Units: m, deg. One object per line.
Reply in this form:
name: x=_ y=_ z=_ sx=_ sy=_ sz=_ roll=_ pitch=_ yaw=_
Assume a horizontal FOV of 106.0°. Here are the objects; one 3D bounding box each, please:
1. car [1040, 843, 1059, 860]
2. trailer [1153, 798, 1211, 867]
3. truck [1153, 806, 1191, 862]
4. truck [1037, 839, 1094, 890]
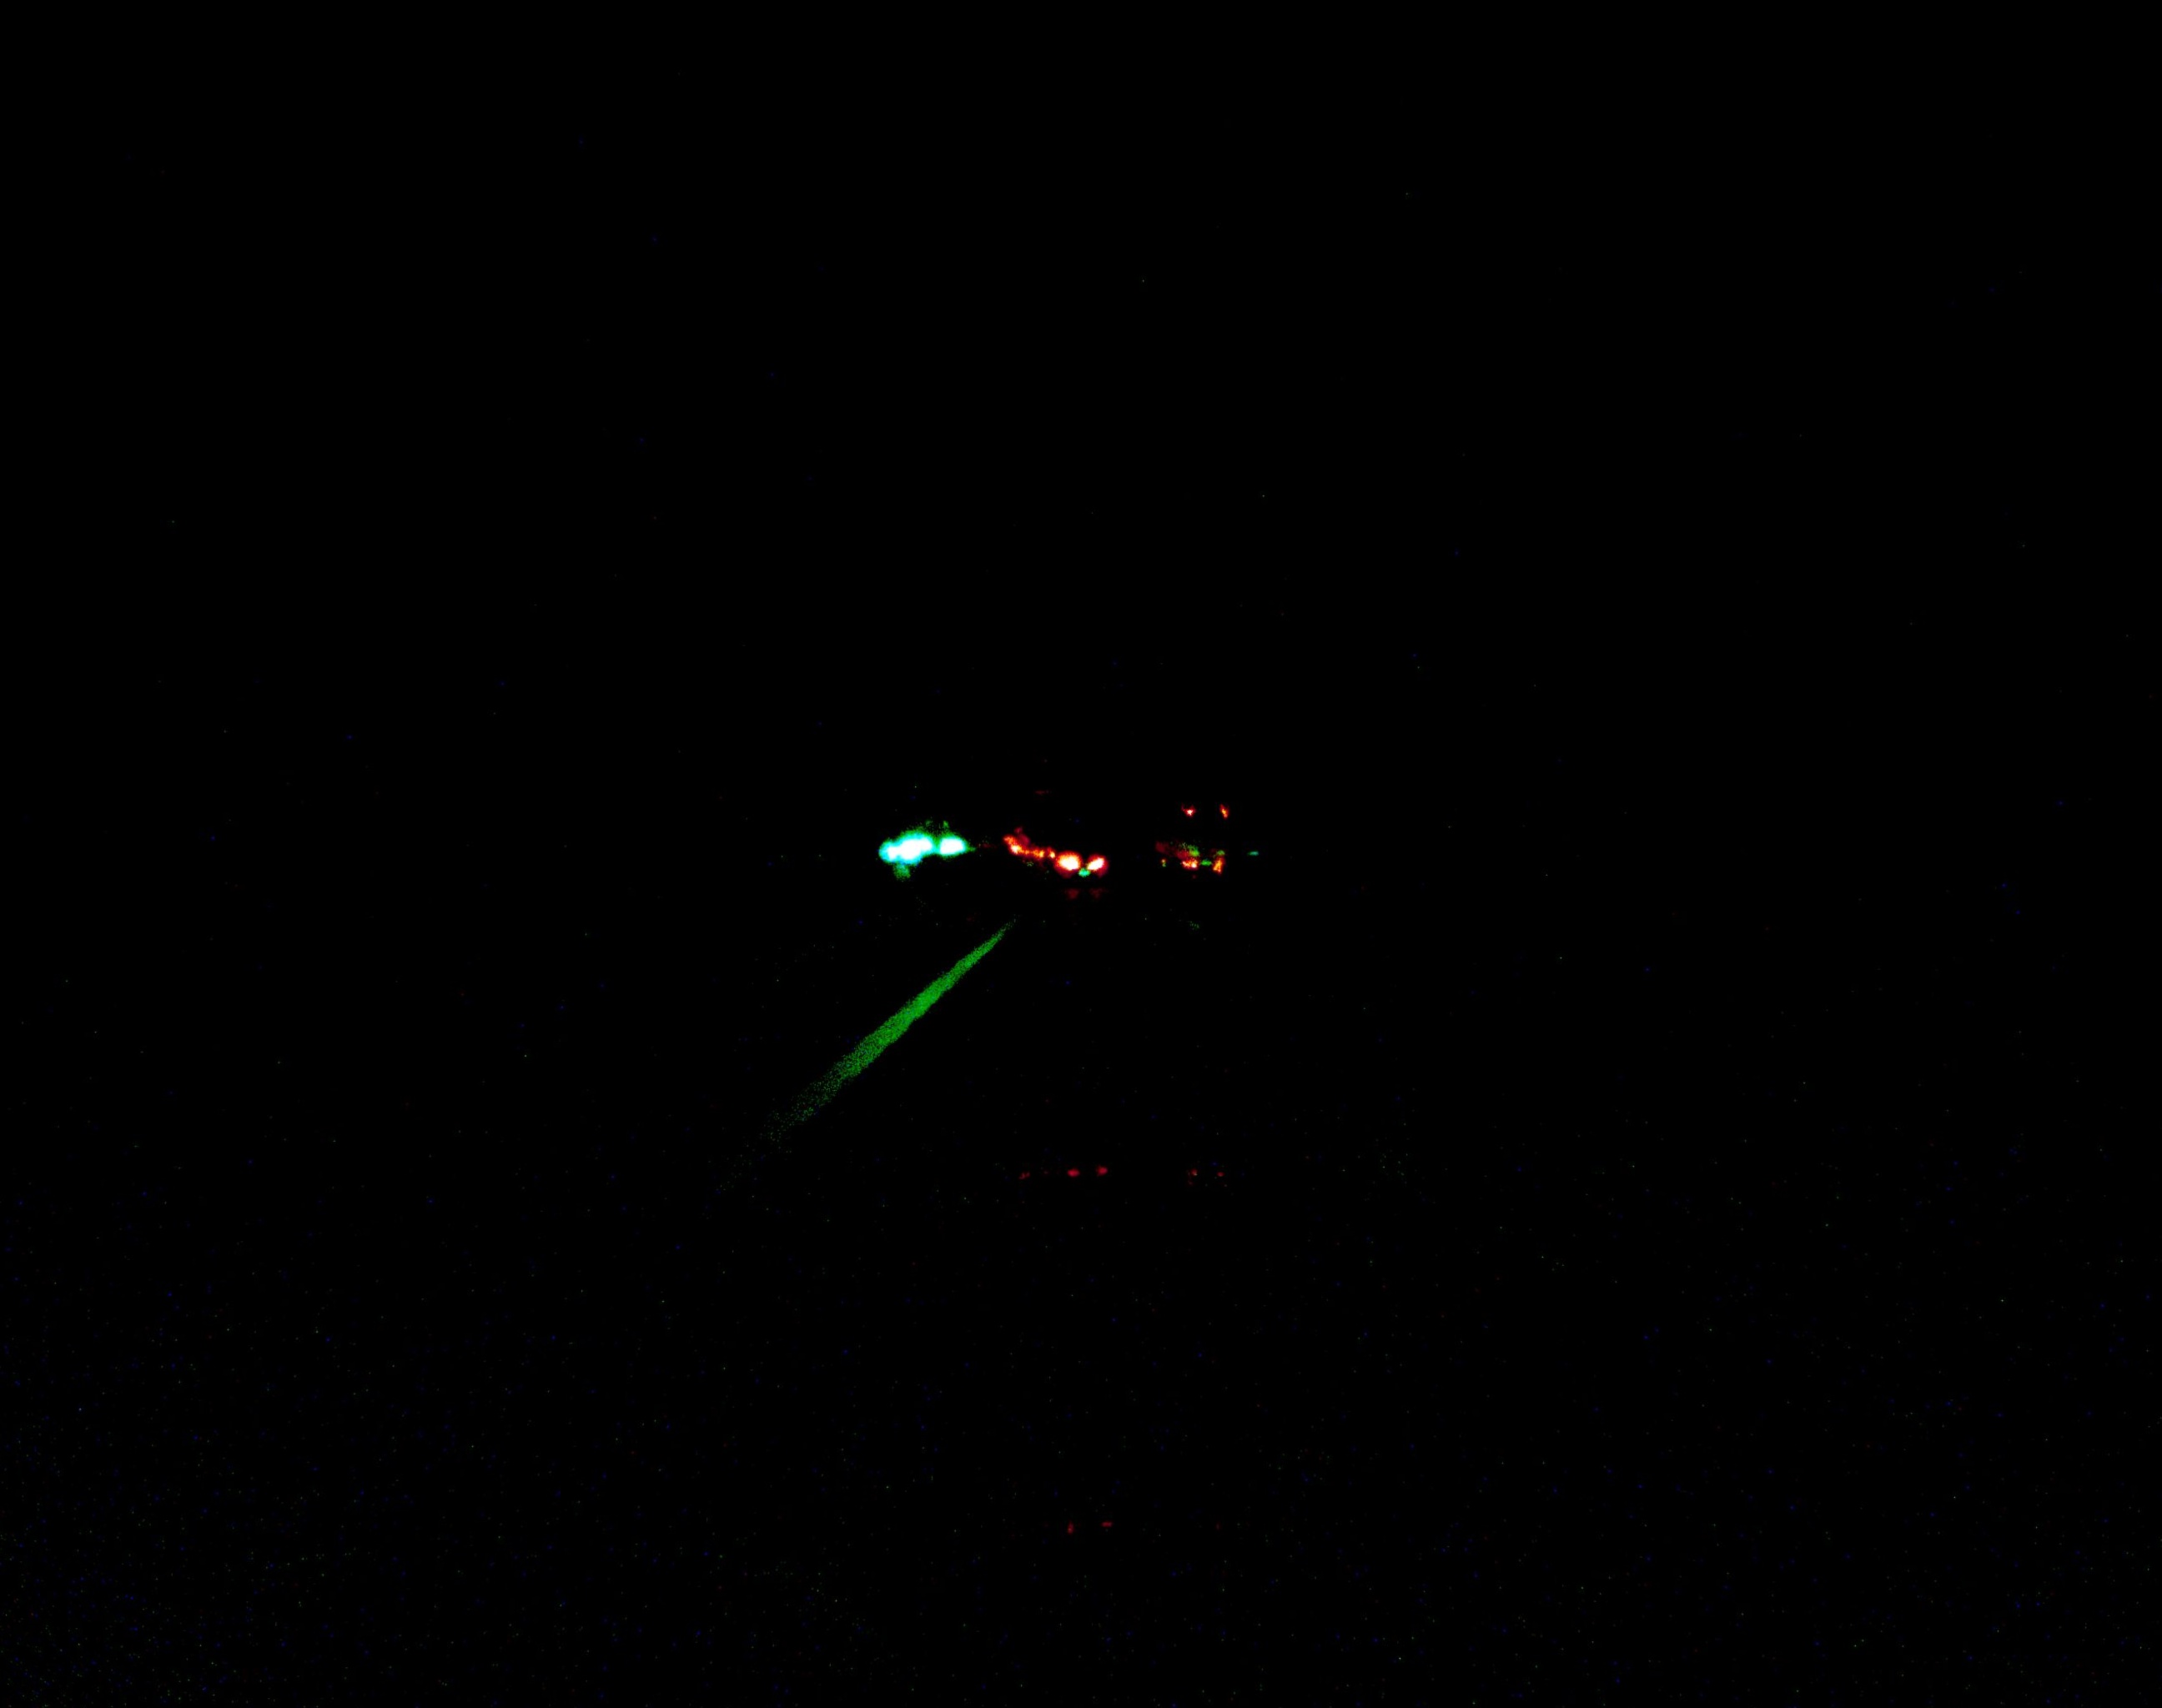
car: x=-3.741 y=-0.258 z=97.239 sx=1.987 sy=2.014 sz=3.999 roll=-1 pitch=0 yaw=0
trailer: x=6.903 y=-1.460 z=57.573 sx=2.729 sy=4.247 sz=13.378 roll=-2 pitch=1 yaw=2
truck: x=7.115 y=-1.546 z=64.117 sx=2.699 sy=4.241 sz=5.298 roll=0 pitch=0 yaw=3
truck: x=-0.628 y=0.406 z=39.074 sx=2.136 sy=2.077 sz=6.609 roll=4 pitch=1 yaw=3
